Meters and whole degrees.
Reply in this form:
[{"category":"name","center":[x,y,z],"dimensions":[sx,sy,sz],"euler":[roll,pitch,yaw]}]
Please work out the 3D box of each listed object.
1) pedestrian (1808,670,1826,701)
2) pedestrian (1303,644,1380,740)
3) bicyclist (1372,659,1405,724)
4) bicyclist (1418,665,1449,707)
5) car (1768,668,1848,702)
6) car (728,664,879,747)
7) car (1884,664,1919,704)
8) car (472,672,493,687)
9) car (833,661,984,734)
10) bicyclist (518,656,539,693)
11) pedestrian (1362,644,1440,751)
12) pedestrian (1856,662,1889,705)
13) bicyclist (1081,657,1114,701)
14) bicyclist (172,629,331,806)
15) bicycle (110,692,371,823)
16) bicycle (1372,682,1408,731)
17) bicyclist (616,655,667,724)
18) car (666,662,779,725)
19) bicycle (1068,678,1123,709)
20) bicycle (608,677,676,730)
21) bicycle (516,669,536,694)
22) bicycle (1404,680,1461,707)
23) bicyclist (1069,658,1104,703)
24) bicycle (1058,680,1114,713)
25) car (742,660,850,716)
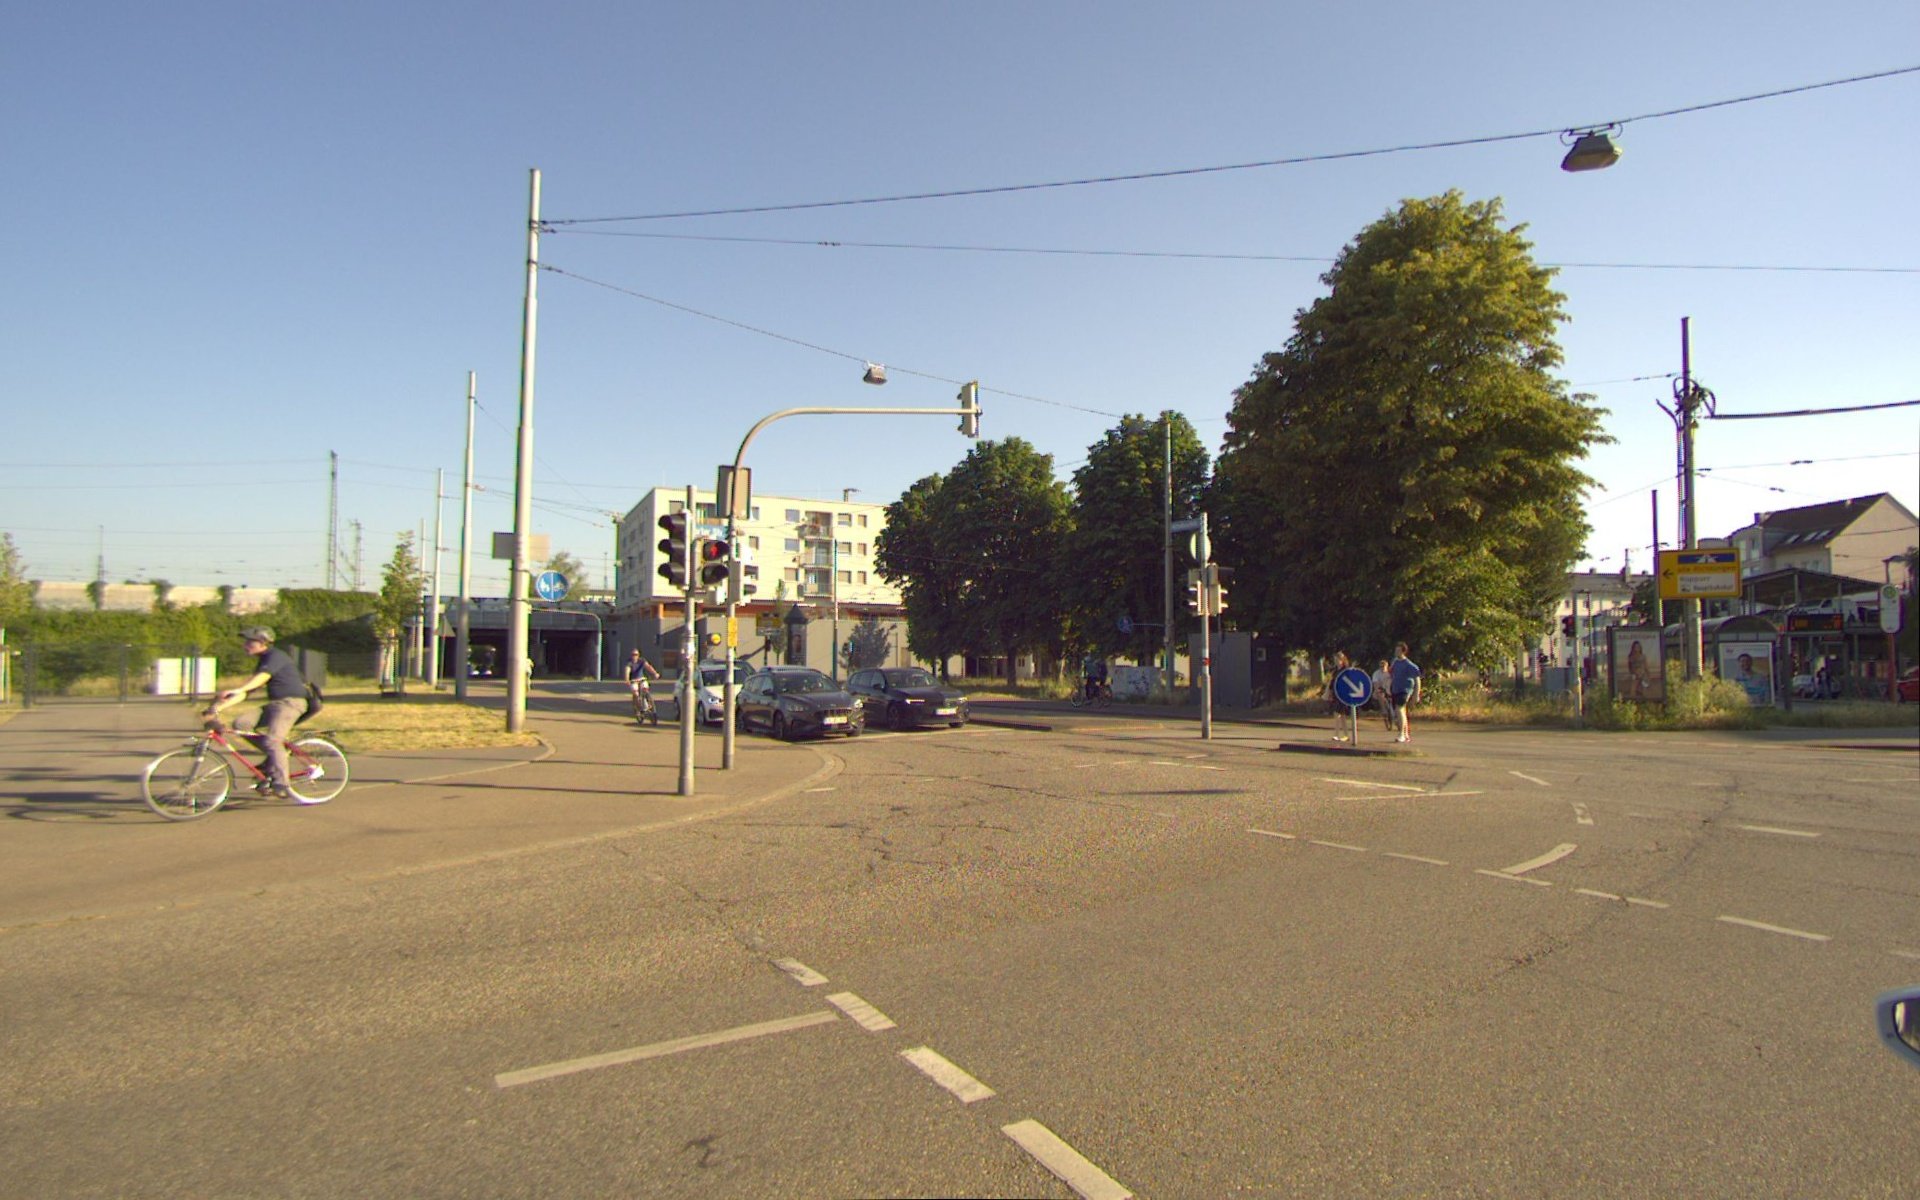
[{"category":"pedestrian","center":[43.292,4.323,50.745],"dimensions":[0.558,1.520,0.677],"euler":[-2,-4,31]},{"category":"pedestrian","center":[7.290,1.741,19.215],"dimensions":[1.056,1.769,0.907],"euler":[3,-4,-33]},{"category":"bicyclist","center":[11.101,2.357,26.041],"dimensions":[0.699,1.650,1.042],"euler":[-1,-4,20]},{"category":"bicyclist","center":[18.887,3.429,40.054],"dimensions":[0.870,1.673,0.670],"euler":[1,-3,-8]},{"category":"car","center":[54.350,5.431,64.478],"dimensions":[2.016,1.987,5.154],"euler":[-3,-5,18]},{"category":"car","center":[-3.557,2.225,22.127],"dimensions":[1.976,1.587,4.244],"euler":[1,-4,-29]},{"category":"car","center":[49.684,4.269,50.967],"dimensions":[2.016,1.987,5.154],"euler":[-3,-5,18]},{"category":"car","center":[-57.924,9.567,121.797],"dimensions":[1.976,1.725,3.970],"euler":[2,-4,-29]},{"category":"car","center":[-1.349,2.279,24.289],"dimensions":[2.028,1.587,4.421],"euler":[2,-4,-27]},{"category":"bicyclist","center":[-19.143,3.284,44.524],"dimensions":[0.767,1.626,0.852],"euler":[2,-4,-27]},{"category":"pedestrian","center":[8.371,1.832,19.068],"dimensions":[1.056,1.950,0.907],"euler":[3,-4,-33]},{"category":"pedestrian","center":[43.650,3.987,48.060],"dimensions":[0.906,2.039,0.769],"euler":[-1,-4,23]},{"category":"bicyclist","center":[4.978,2.850,36.422],"dimensions":[0.656,1.551,1.024],"euler":[4,-5,-44]},{"category":"bicyclist","center":[-7.037,1.134,10.006],"dimensions":[0.863,1.646,0.971],"euler":[-2,-4,29]},{"category":"bicycle","center":[-7.014,1.484,9.929],"dimensions":[0.740,1.107,1.948],"euler":[-1,-4,26]},{"category":"bicycle","center":[11.107,2.730,25.997],"dimensions":[0.687,1.157,2.202],"euler":[-2,-4,20]},{"category":"bicyclist","center":[-7.431,2.078,23.433],"dimensions":[0.844,1.567,1.011],"euler":[3,-4,-37]},{"category":"car","center":[-6.653,2.534,27.844],"dimensions":[1.976,1.587,4.244],"euler":[2,-4,-29]},{"category":"bicycle","center":[4.900,3.383,36.480],"dimensions":[0.659,1.083,1.993],"euler":[4,-5,-44]},{"category":"bicycle","center":[-7.418,2.378,23.383],"dimensions":[0.785,1.164,2.269],"euler":[3,-5,-36]},{"category":"bicycle","center":[-19.216,3.614,44.507],"dimensions":[0.655,1.083,2.006],"euler":[2,-4,-27]},{"category":"bicycle","center":[18.809,3.720,40.019],"dimensions":[1.981,1.083,0.663],"euler":[1,-4,-7]},{"category":"bicyclist","center":[4.440,2.815,35.303],"dimensions":[0.693,1.551,1.024],"euler":[3,-5,-43]},{"category":"bicycle","center":[4.410,3.373,35.284],"dimensions":[0.659,1.083,1.994],"euler":[4,-5,-43]},{"category":"car","center":[-5.221,2.699,31.447],"dimensions":[1.976,1.587,4.424],"euler":[2,-4,-29]}]
